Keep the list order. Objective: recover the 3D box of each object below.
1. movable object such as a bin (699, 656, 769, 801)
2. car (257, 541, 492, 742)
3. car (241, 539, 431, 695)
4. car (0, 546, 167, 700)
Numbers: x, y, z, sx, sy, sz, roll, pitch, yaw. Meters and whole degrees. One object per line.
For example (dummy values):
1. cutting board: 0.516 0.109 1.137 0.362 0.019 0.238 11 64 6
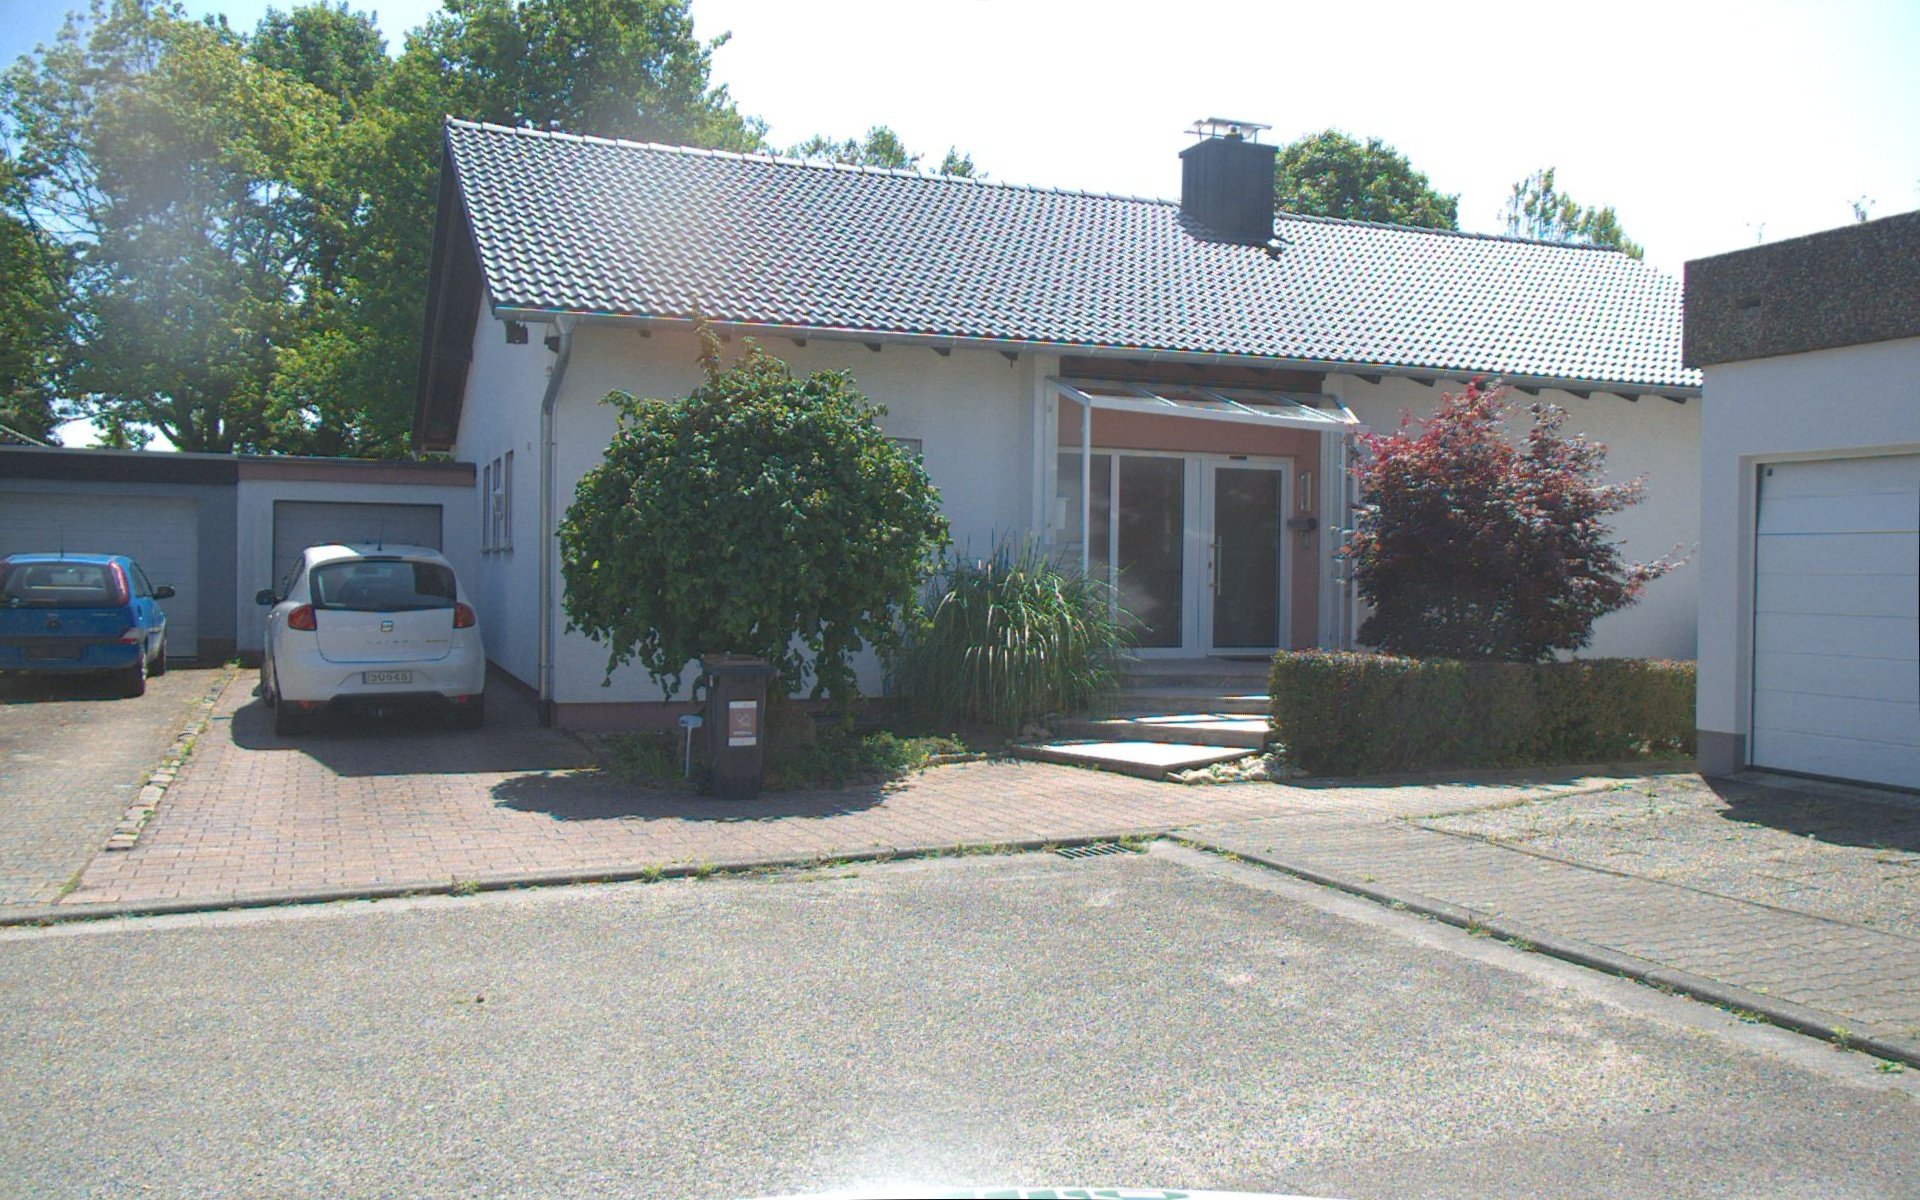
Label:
1. movable object such as a bin: -1.488 0.835 10.868 0.369 0.907 0.388 0 1 -22
2. car: -5.517 0.280 15.303 1.724 1.596 3.970 0 1 -24
3. car: -7.339 0.105 19.513 1.895 1.635 3.976 0 2 -21
4. car: -9.732 0.193 18.167 1.592 1.480 3.234 1 2 -21
